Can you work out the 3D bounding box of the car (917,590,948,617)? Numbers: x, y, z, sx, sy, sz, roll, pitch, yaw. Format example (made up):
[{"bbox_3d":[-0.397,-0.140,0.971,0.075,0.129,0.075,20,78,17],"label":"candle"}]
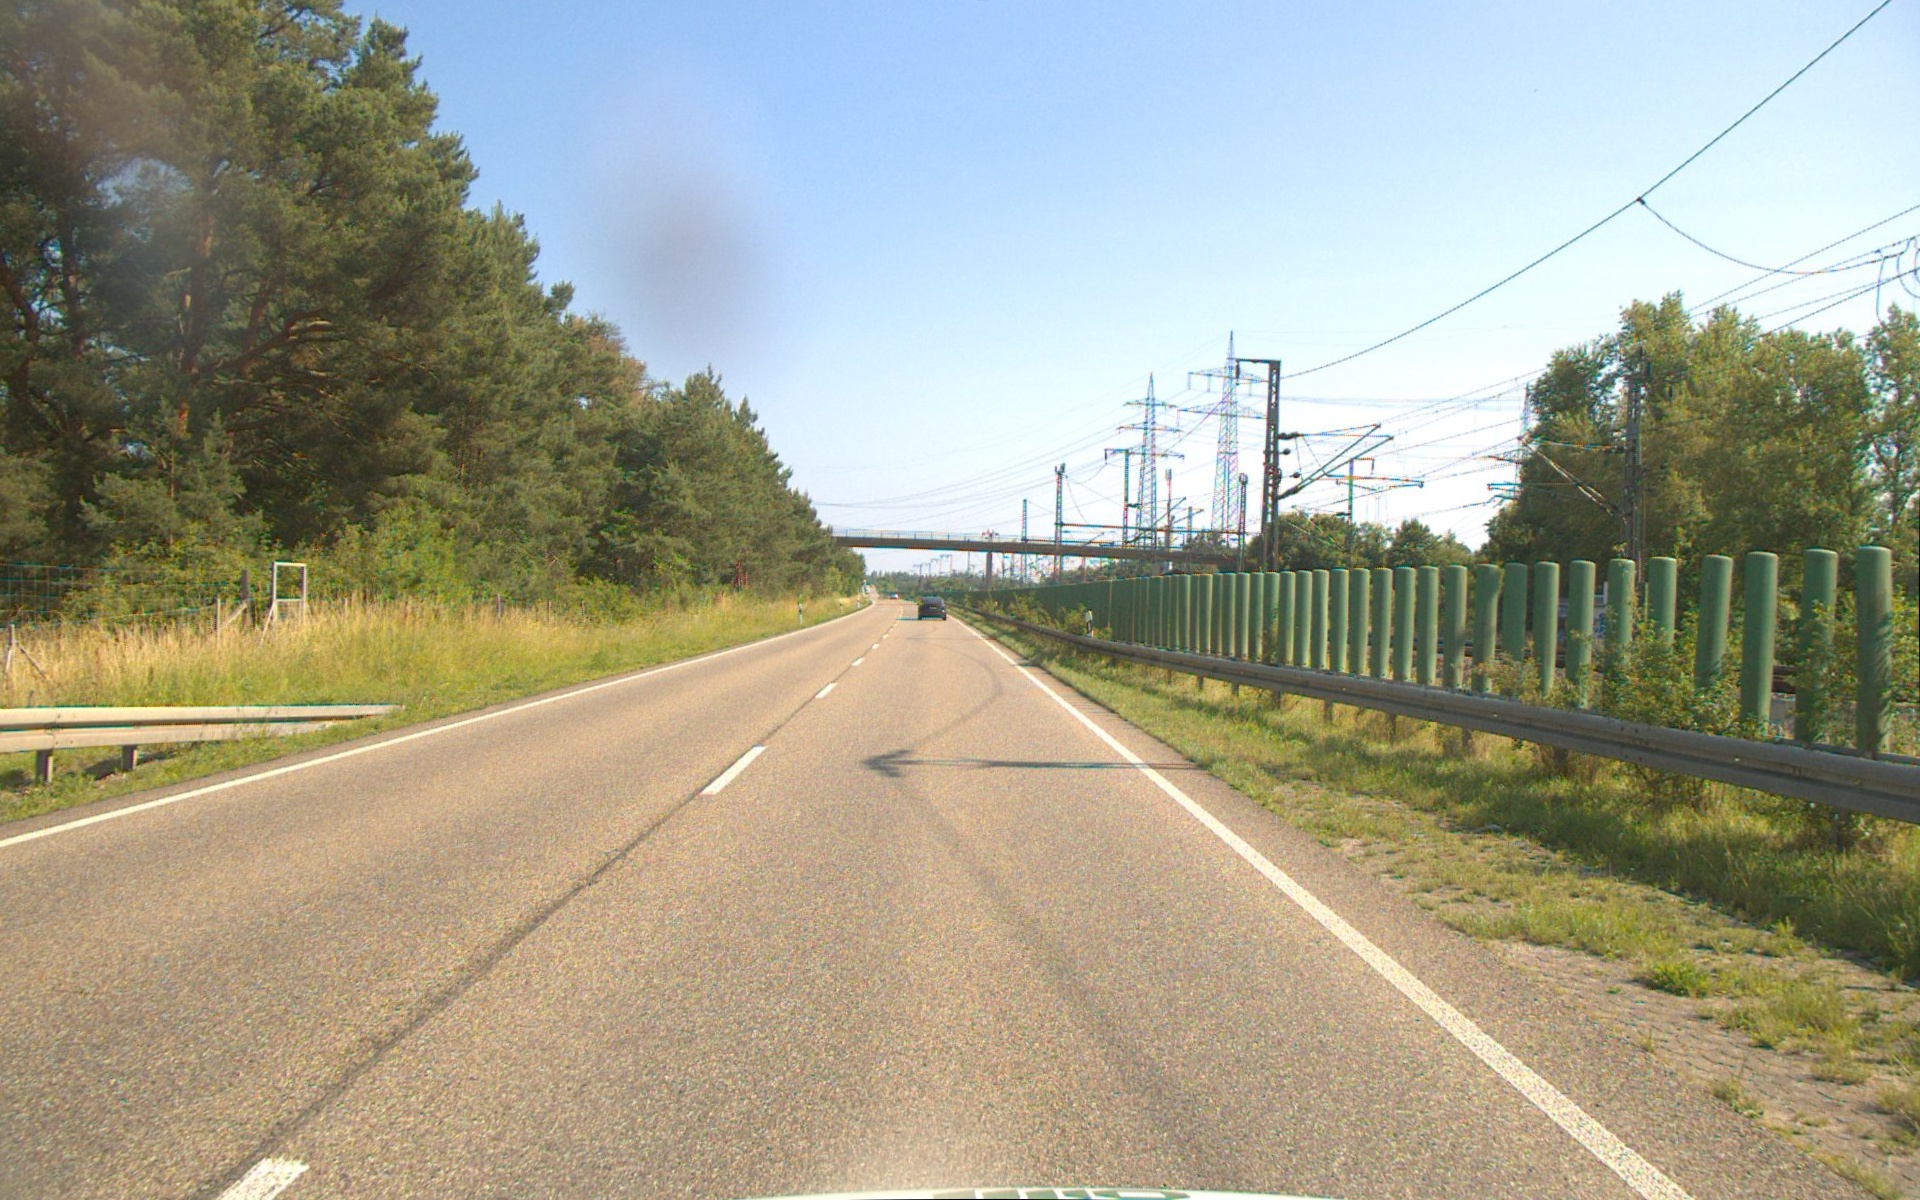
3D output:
[{"bbox_3d":[-1.794,0.233,105.356,1.822,1.670,3.997,0,0,-3],"label":"car"}]
